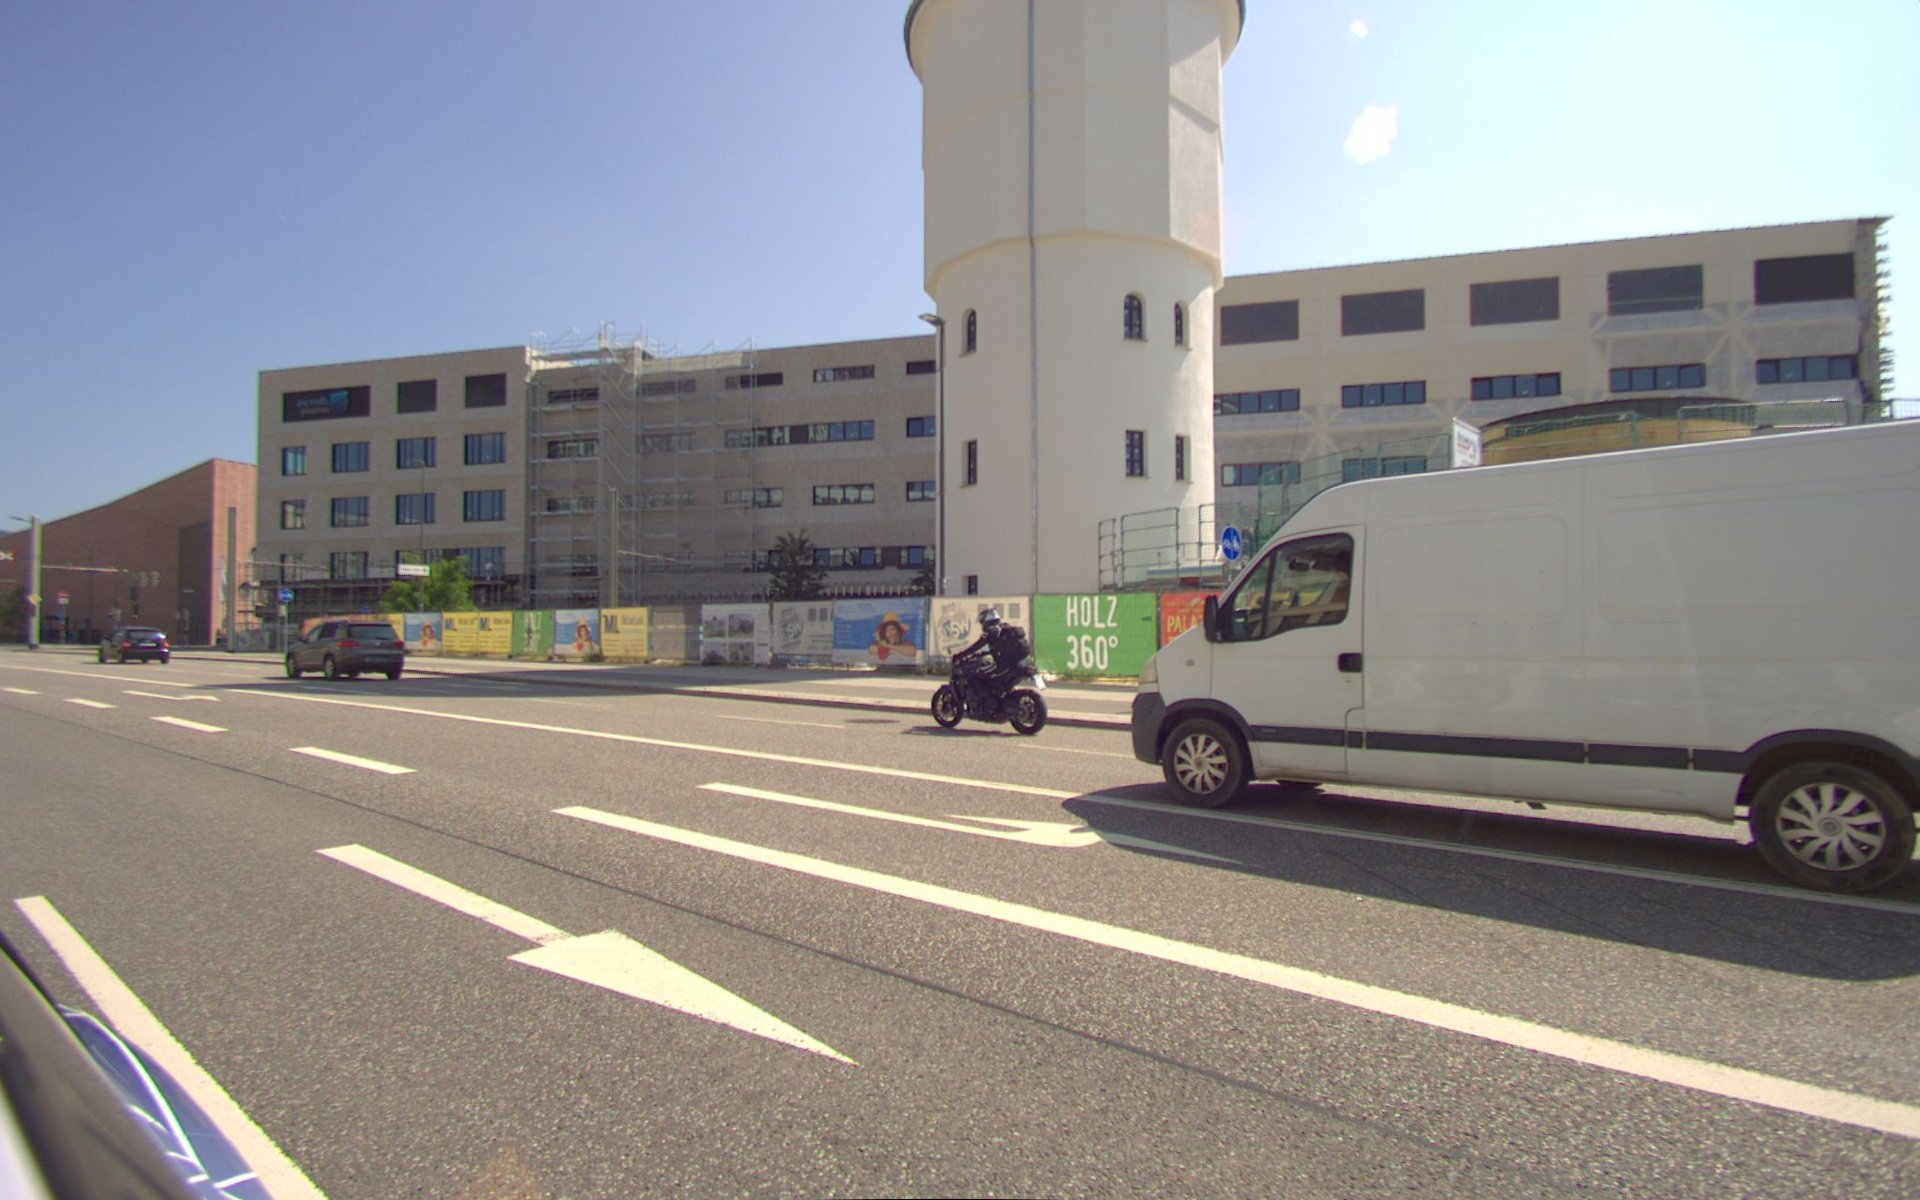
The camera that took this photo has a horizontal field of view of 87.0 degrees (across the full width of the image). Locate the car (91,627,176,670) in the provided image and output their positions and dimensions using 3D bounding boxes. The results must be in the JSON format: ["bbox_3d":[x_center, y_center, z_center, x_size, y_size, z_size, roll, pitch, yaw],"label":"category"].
[{"bbox_3d":[-32.960,1.881,40.323,3.997,1.624,1.909,-1,-2,41],"label":"car"}]

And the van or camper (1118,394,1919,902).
[{"bbox_3d":[4.042,0.299,6.791,5.680,2.432,2.130,-2,-3,42],"label":"van or camper"}]

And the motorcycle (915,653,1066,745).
[{"bbox_3d":[0.383,1.321,13.919,2.215,1.112,0.577,-1,-4,42],"label":"motorcycle"}]

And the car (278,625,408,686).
[{"bbox_3d":[-17.264,1.518,28.266,3.966,1.602,1.780,-1,-4,38],"label":"car"}]

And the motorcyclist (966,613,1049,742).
[{"bbox_3d":[0.635,1.022,13.690,0.927,1.672,0.612,-1,-3,42],"label":"motorcyclist"}]
